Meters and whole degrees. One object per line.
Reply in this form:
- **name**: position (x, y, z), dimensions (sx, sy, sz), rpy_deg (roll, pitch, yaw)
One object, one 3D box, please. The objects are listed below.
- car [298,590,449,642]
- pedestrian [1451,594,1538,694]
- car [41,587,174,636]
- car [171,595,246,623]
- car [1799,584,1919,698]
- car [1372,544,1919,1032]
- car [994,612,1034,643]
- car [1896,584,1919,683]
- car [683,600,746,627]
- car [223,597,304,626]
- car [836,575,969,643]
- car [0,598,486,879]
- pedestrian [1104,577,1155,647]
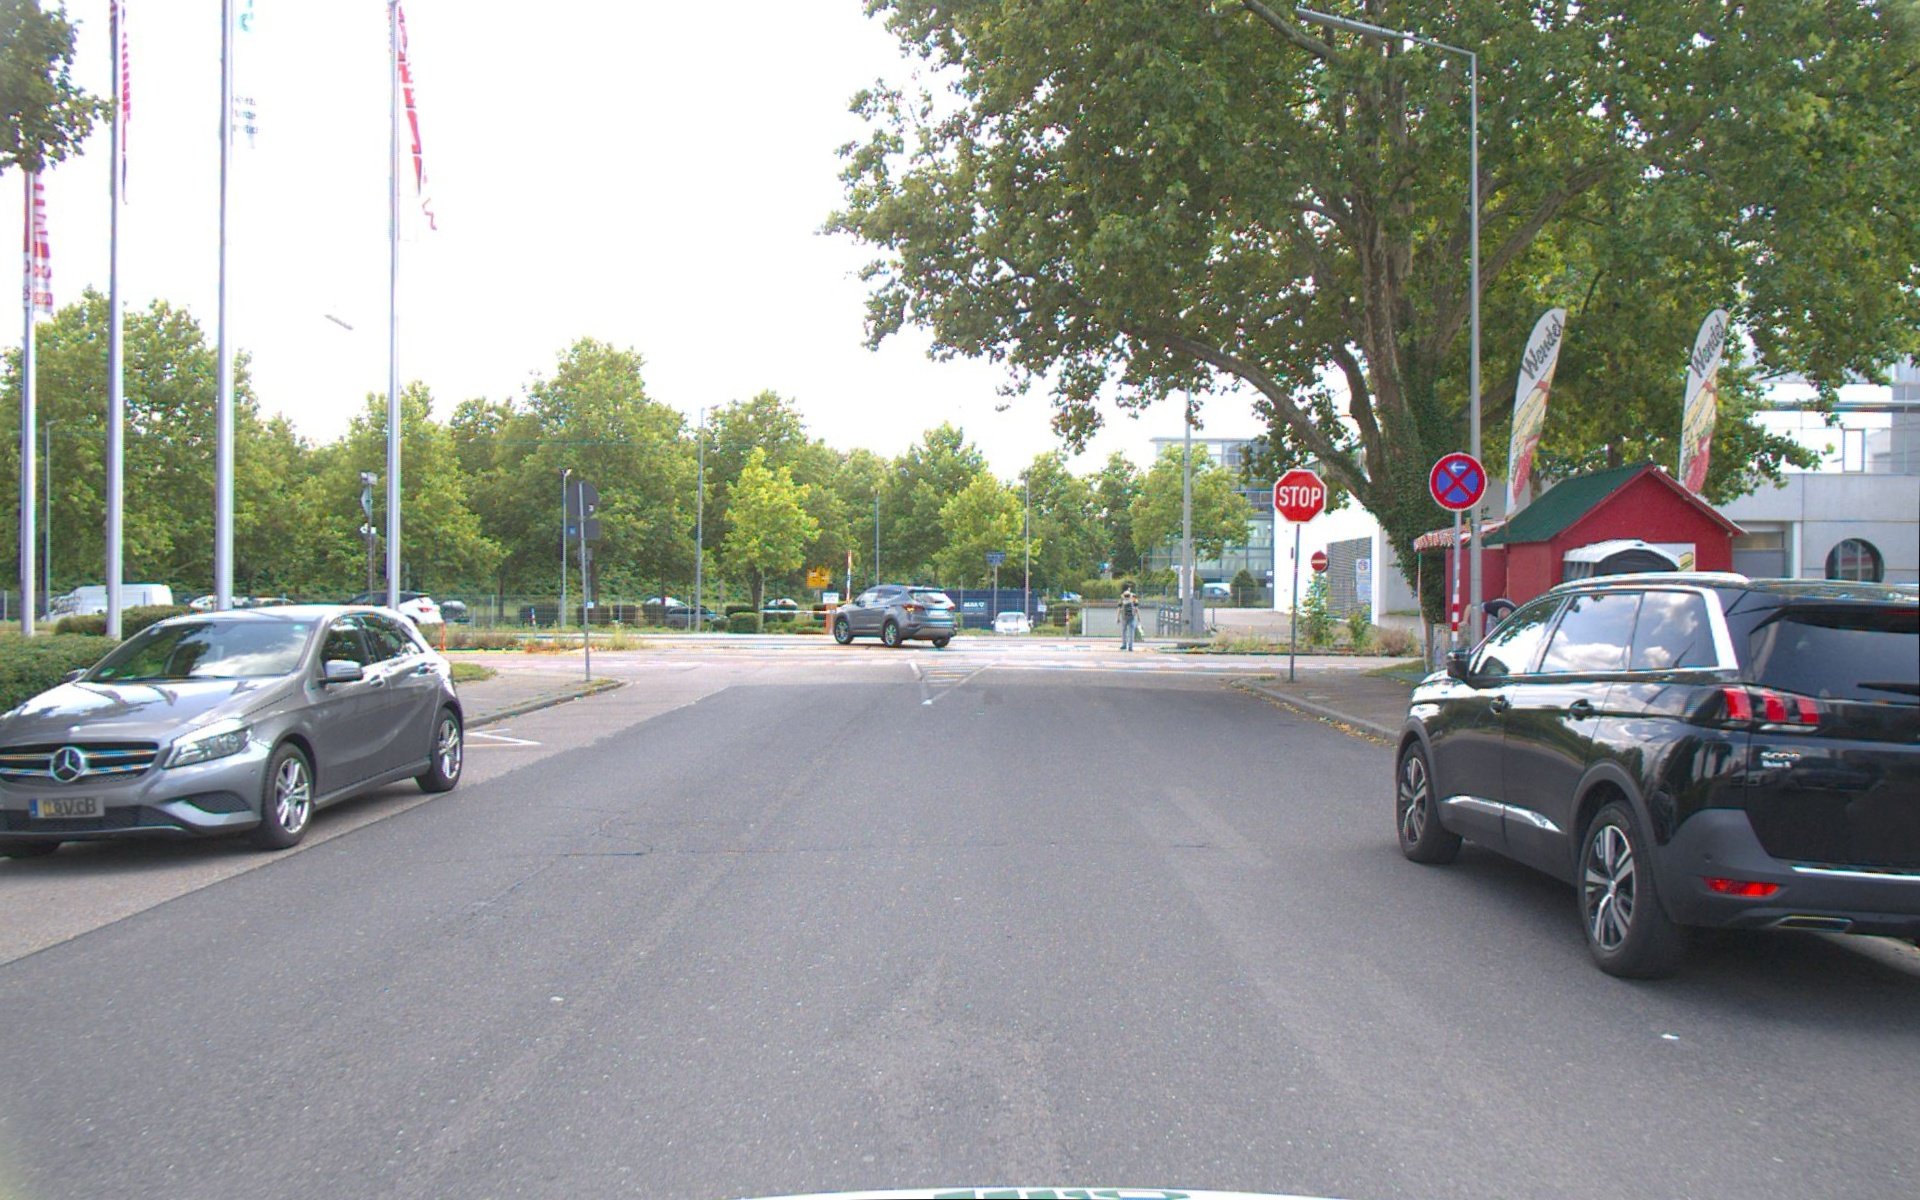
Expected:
- **car**: position (-18.646, 0.495, 52.726), dimensions (4.134, 1.607, 1.923), rpy_deg (0, 0, -1)
- **pedestrian**: position (7.352, 0.594, 22.796), dimensions (0.992, 1.337, 0.965), rpy_deg (0, 0, 9)
- **car**: position (-39.678, 0.541, 77.069), dimensions (5.180, 2.250, 1.797), rpy_deg (0, 0, -3)
- **car**: position (-47.977, 0.579, 105.658), dimensions (1.880, 1.691, 3.988), rpy_deg (0, 0, 33)
- **car**: position (13.918, 0.551, 23.991), dimensions (1.703, 1.538, 4.002), rpy_deg (0, 0, 4)
- **car**: position (3.553, 0.673, 8.182), dimensions (1.771, 1.694, 4.639), rpy_deg (3, 0, 0)
- **car**: position (2.586, 1.301, 79.398), dimensions (1.891, 1.427, 4.082), rpy_deg (0, 0, 2)
- **car**: position (16.377, 0.555, 25.265), dimensions (1.705, 1.596, 3.997), rpy_deg (0, 0, -4)
- **car**: position (-16.382, 0.865, 110.427), dimensions (3.916, 1.731, 1.904), rpy_deg (0, 0, 33)
- **car**: position (-43.050, 0.687, 102.337), dimensions (1.880, 1.751, 4.287), rpy_deg (0, 0, 33)
- **car**: position (-1.684, 0.238, 47.249), dimensions (1.944, 1.847, 4.227), rpy_deg (0, 0, -33)
- **car**: position (-4.730, 0.755, 11.070), dimensions (1.674, 1.444, 4.332), rpy_deg (-2, 0, 2)
- **pedestrian**: position (4.649, 0.333, 45.379), dimensions (0.984, 1.881, 1.223), rpy_deg (1, 0, -17)
